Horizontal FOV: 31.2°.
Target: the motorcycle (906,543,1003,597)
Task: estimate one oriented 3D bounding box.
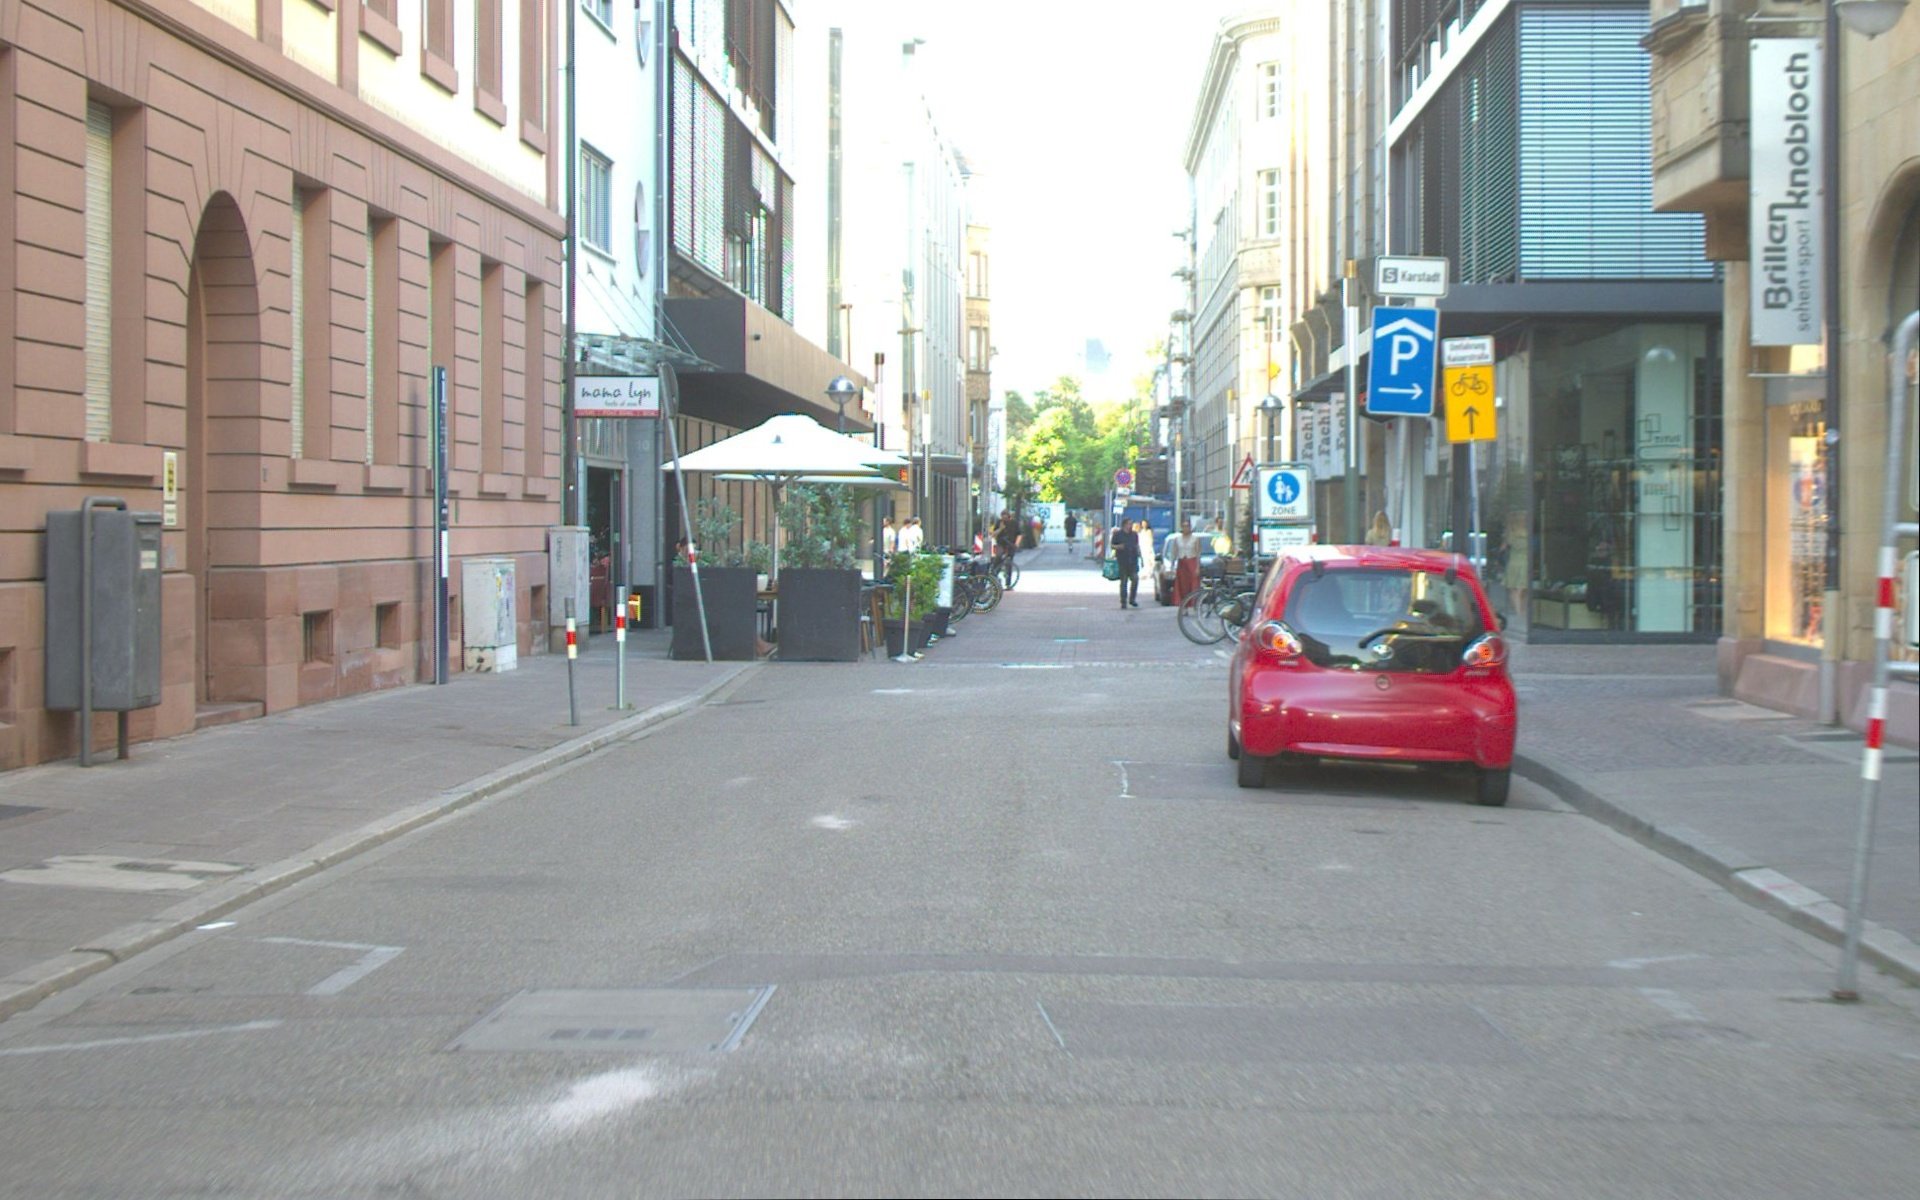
[{"bbox_3d":[-0.105,-0.557,64.072,1.801,0.986,0.560,0,1,-2],"label":"motorcycle"}]

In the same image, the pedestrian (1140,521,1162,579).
[{"bbox_3d":[5.345,-1.388,96.193,0.604,1.617,0.529,0,1,4],"label":"pedestrian"}]

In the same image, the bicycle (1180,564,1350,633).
[{"bbox_3d":[4.069,-0.026,45.929,2.200,0.902,0.649,0,1,-1],"label":"bicycle"}]

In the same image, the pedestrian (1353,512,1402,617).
[{"bbox_3d":[5.903,-0.505,48.661,0.656,1.482,0.493,0,1,4],"label":"pedestrian"}]

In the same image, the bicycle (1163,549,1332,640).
[{"bbox_3d":[3.600,-0.074,43.120,2.052,1.130,0.649,0,1,-1],"label":"bicycle"}]

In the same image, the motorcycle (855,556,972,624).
[{"bbox_3d":[-0.725,-0.154,53.271,1.801,1.037,0.494,0,1,-2],"label":"motorcycle"}]

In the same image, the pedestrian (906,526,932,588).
[{"bbox_3d":[-1.078,-1.117,89.689,0.603,1.617,0.529,0,1,-8],"label":"pedestrian"}]

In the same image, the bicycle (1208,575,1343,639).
[{"bbox_3d":[3.821,0.083,41.689,1.565,0.766,0.557,0,1,-1],"label":"bicycle"}]

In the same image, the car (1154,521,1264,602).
[{"bbox_3d":[5.064,-0.808,70.437,1.993,1.605,4.000,0,1,1],"label":"car"}]

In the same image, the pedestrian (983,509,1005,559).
[{"bbox_3d":[1.098,-2.154,112.078,0.678,1.617,0.625,0,1,4],"label":"pedestrian"}]

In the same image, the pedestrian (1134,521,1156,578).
[{"bbox_3d":[5.211,-1.421,96.810,0.604,1.617,0.625,0,1,4],"label":"pedestrian"}]

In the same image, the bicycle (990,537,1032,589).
[{"bbox_3d":[1.149,-0.849,78.462,0.636,1.153,2.502,0,1,-7],"label":"bicycle"}]

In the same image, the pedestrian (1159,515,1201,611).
[{"bbox_3d":[3.750,-0.633,58.624,0.633,1.614,0.466,0,1,-7],"label":"pedestrian"}]

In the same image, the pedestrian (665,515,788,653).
[{"bbox_3d":[-2.534,-0.178,37.374,1.290,1.482,0.661,0,1,0],"label":"pedestrian"}]

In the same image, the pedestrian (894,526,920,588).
[{"bbox_3d":[-1.396,-1.133,90.461,0.603,1.617,0.529,0,1,-8],"label":"pedestrian"}]

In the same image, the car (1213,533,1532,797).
[{"bbox_3d":[2.487,0.338,21.418,1.649,1.422,3.535,3,1,3],"label":"car"}]

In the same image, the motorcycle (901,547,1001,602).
[{"bbox_3d":[-0.172,-0.471,62.434,1.801,0.986,0.560,0,1,-2],"label":"motorcycle"}]

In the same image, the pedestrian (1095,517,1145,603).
[{"bbox_3d":[3.208,-0.804,68.868,0.865,1.707,0.852,0,1,-6],"label":"pedestrian"}]

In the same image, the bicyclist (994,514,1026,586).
[{"bbox_3d":[1.143,-1.142,78.521,0.636,1.635,0.772,0,1,-7],"label":"bicyclist"}]

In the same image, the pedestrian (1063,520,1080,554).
[{"bbox_3d":[5.451,-3.069,168.230,0.804,1.667,0.888,0,1,4],"label":"pedestrian"}]

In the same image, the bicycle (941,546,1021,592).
[{"bbox_3d":[0.409,-0.613,67.761,1.518,0.893,0.485,0,1,-25],"label":"bicycle"}]

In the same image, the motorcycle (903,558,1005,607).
[{"bbox_3d":[-0.108,-0.314,61.405,1.801,0.872,0.560,0,1,-2],"label":"motorcycle"}]
